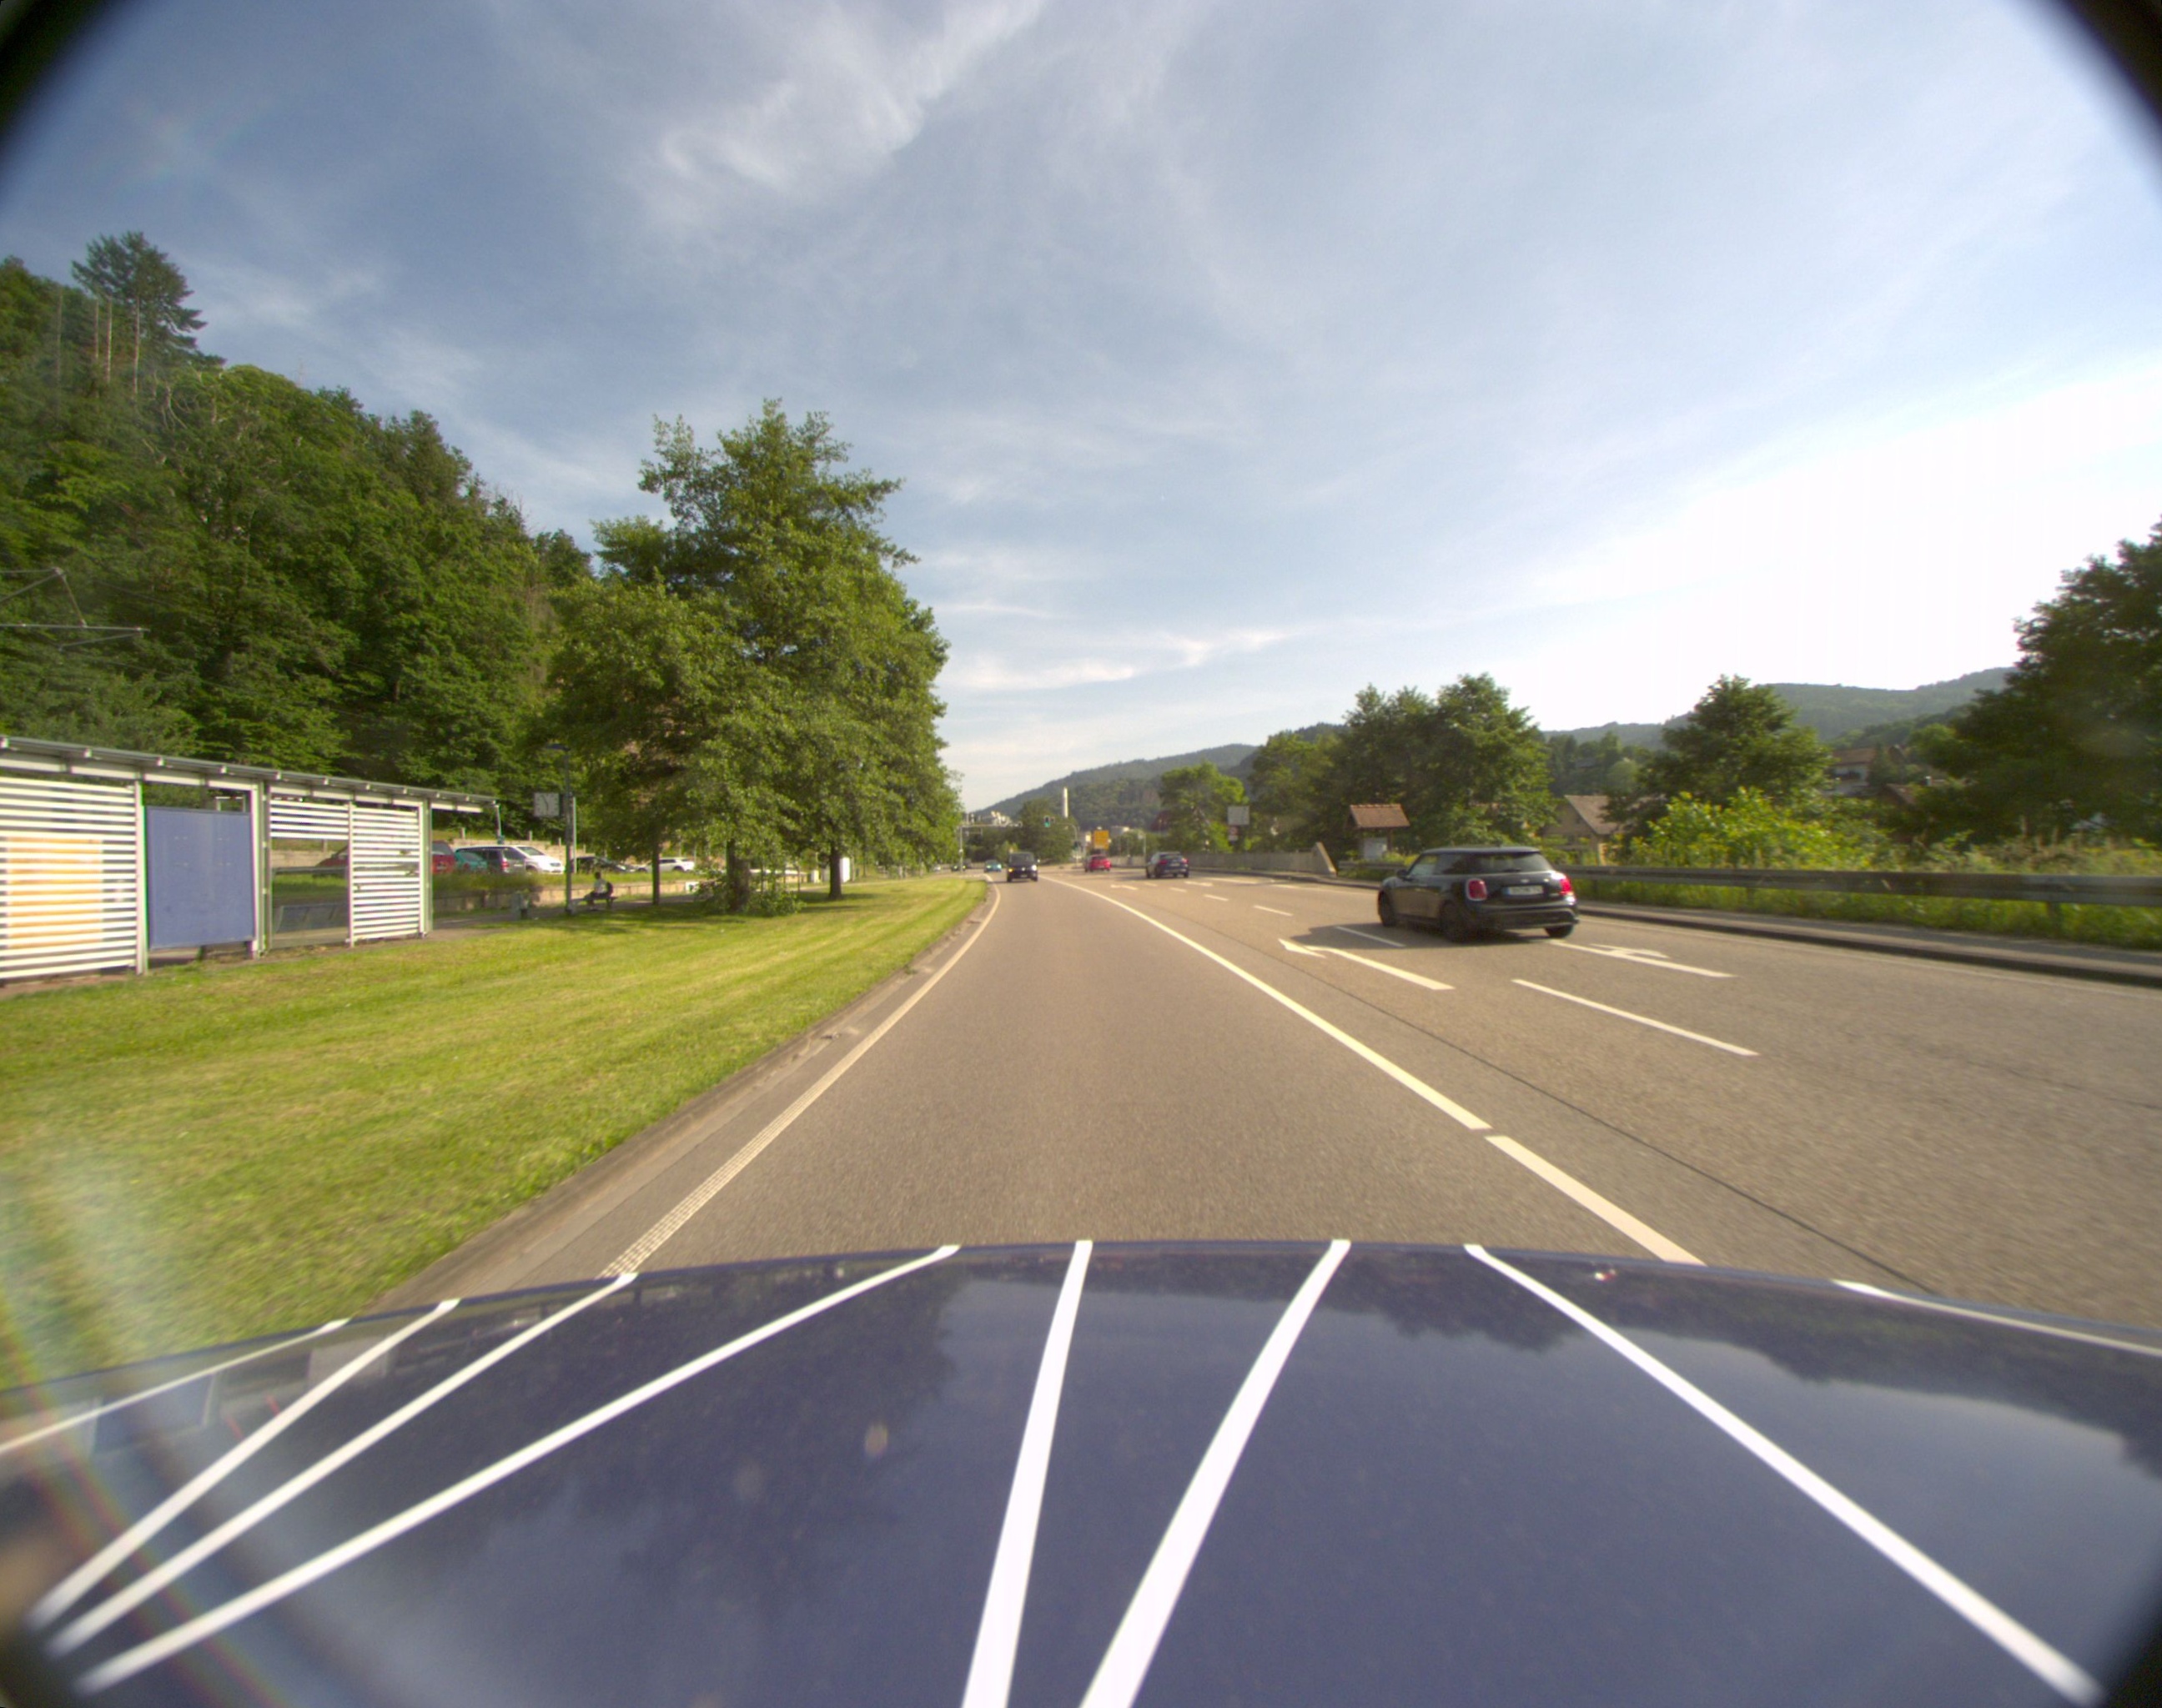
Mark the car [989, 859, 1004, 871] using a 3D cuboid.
[{"bbox_3d":[-10.443,1.372,93.895,1.768,1.452,3.574,0,0,-5],"label":"car"}]

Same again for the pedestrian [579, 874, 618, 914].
[{"bbox_3d":[-14.325,1.181,22.574,0.636,1.154,0.726,0,1,5],"label":"pedestrian"}]

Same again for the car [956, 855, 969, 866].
[{"bbox_3d":[-19.881,1.100,127.526,2.000,1.783,3.997,0,0,-8],"label":"car"}]

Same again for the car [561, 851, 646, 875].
[{"bbox_3d":[-30.722,0.577,48.980,4.277,1.335,1.831,-2,0,-3],"label":"car"}]

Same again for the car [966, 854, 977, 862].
[{"bbox_3d":[-21.889,0.796,151.364,1.680,1.481,3.781,0,0,-15],"label":"car"}]

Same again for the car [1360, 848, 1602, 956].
[{"bbox_3d":[6.176,0.648,12.367,1.698,1.394,4.201,-2,0,0],"label":"car"}]

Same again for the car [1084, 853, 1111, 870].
[{"bbox_3d":[1.410,0.641,66.845,1.681,1.451,4.198,-2,0,-8],"label":"car"}]

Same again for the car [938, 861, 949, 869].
[{"bbox_3d":[-26.956,2.191,148.717,1.878,1.452,3.724,0,0,-15],"label":"car"}]

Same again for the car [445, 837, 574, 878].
[{"bbox_3d":[-29.667,0.187,39.594,4.965,1.932,2.141,-2,0,-3],"label":"car"}]

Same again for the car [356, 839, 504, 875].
[{"bbox_3d":[-29.557,0.131,34.627,4.965,1.460,1.895,-2,0,-3],"label":"car"}]

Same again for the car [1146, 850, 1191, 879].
[{"bbox_3d":[4.958,0.549,43.396,1.856,1.461,4.541,-3,0,-2],"label":"car"}]

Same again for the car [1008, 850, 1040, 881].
[{"bbox_3d":[-3.712,0.724,49.917,1.909,1.868,4.346,-3,0,-4],"label":"car"}]

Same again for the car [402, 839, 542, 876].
[{"bbox_3d":[-29.596,0.159,37.067,4.965,1.578,2.141,-2,0,-3],"label":"car"}]

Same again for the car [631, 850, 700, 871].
[{"bbox_3d":[-30.982,0.482,56.769,4.107,1.390,1.809,-2,0,-3],"label":"car"}]

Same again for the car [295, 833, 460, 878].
[{"bbox_3d":[-29.508,0.078,31.996,4.965,1.681,1.935,-2,0,-3],"label":"car"}]
